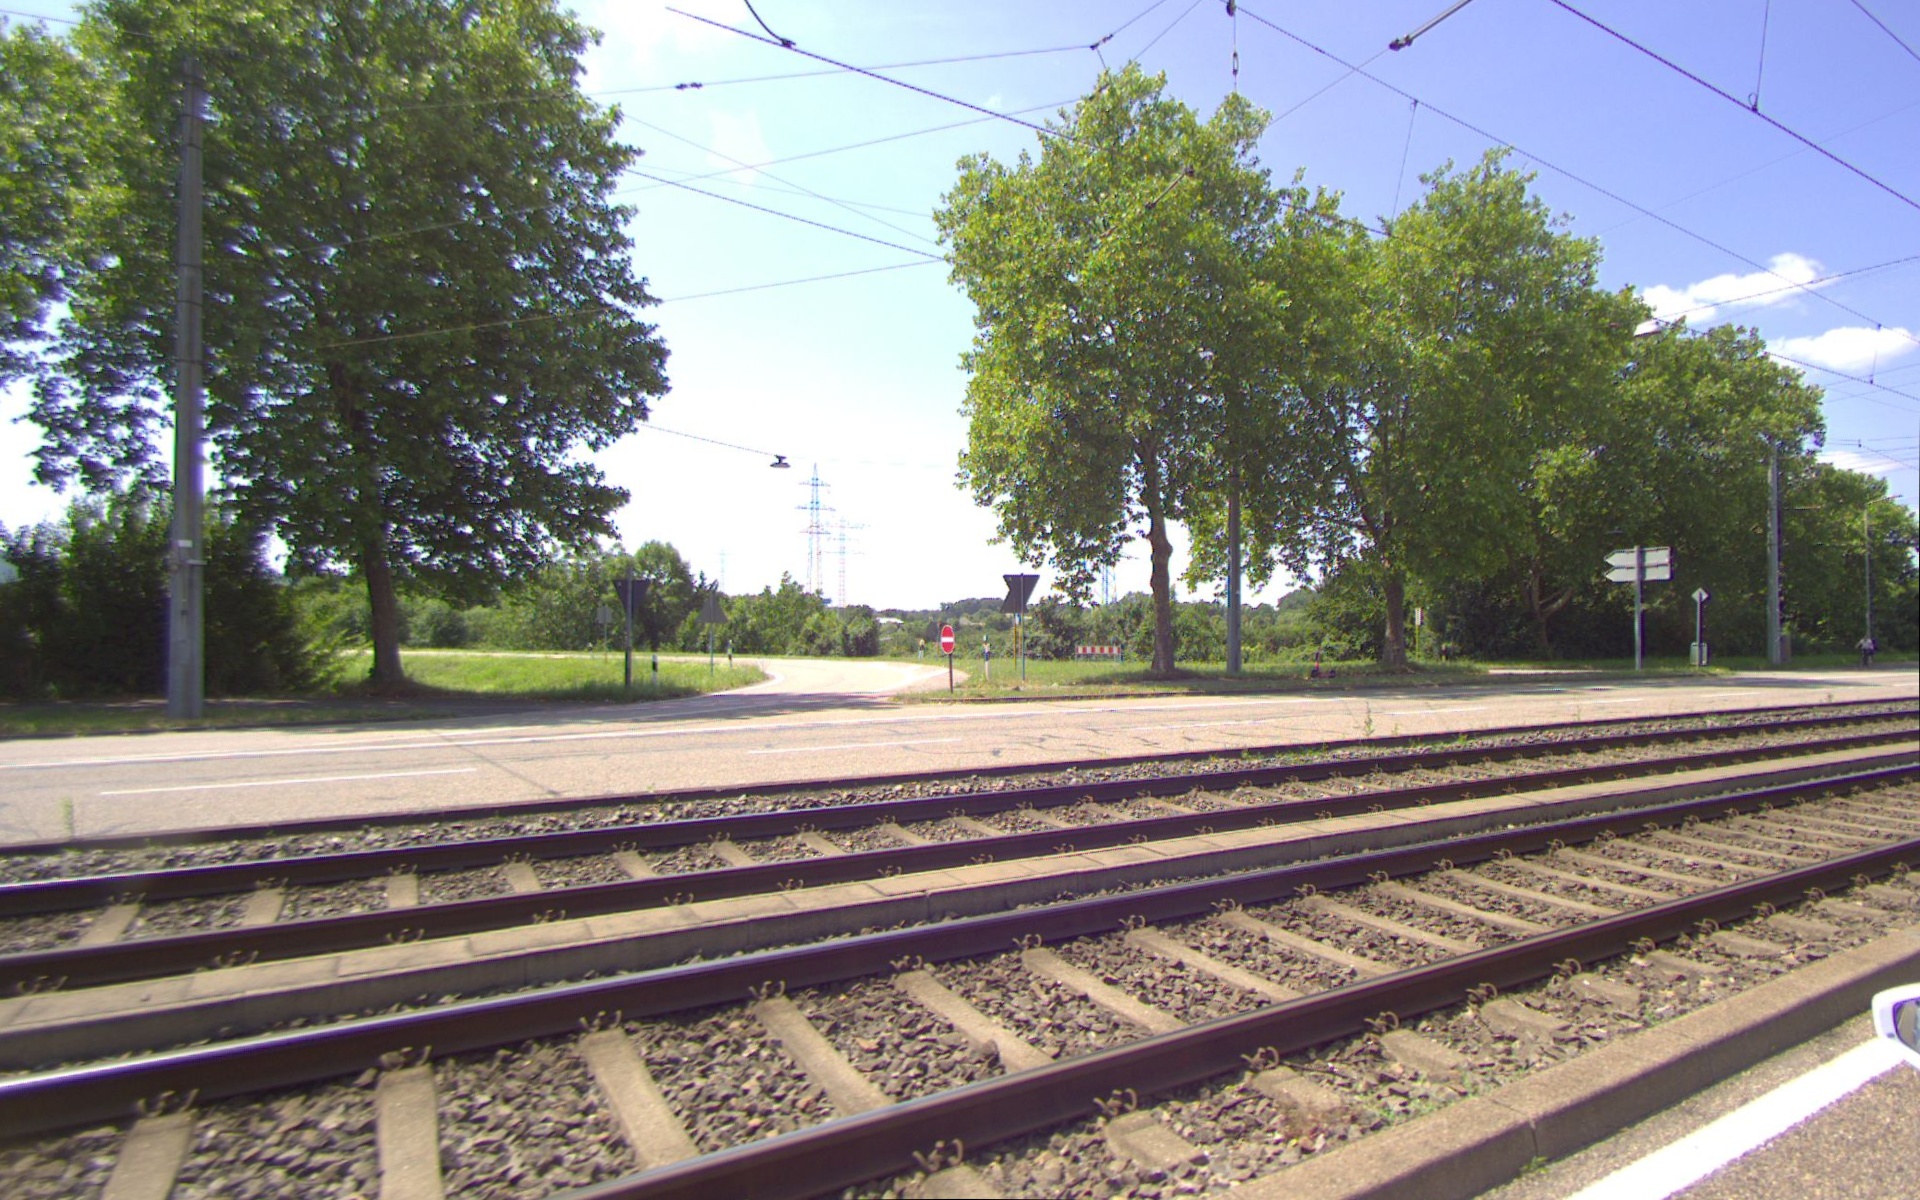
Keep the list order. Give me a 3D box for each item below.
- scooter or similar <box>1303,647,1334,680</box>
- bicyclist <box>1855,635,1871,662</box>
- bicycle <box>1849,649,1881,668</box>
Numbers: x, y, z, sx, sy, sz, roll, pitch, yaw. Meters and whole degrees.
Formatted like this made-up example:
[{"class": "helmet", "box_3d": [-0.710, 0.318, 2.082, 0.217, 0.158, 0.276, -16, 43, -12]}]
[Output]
[{"class": "scooter or similar", "box_3d": [11.600, 2.045, 32.474, 0.982, 1.036, 0.298, 1, 2, -23]}, {"class": "bicyclist", "box_3d": [43.916, 2.344, 48.847, 0.393, 1.289, 0.452, 1, -1, -28]}, {"class": "bicycle", "box_3d": [43.959, 2.839, 48.792, 1.907, 0.868, 0.513, 1, -1, -28]}]
